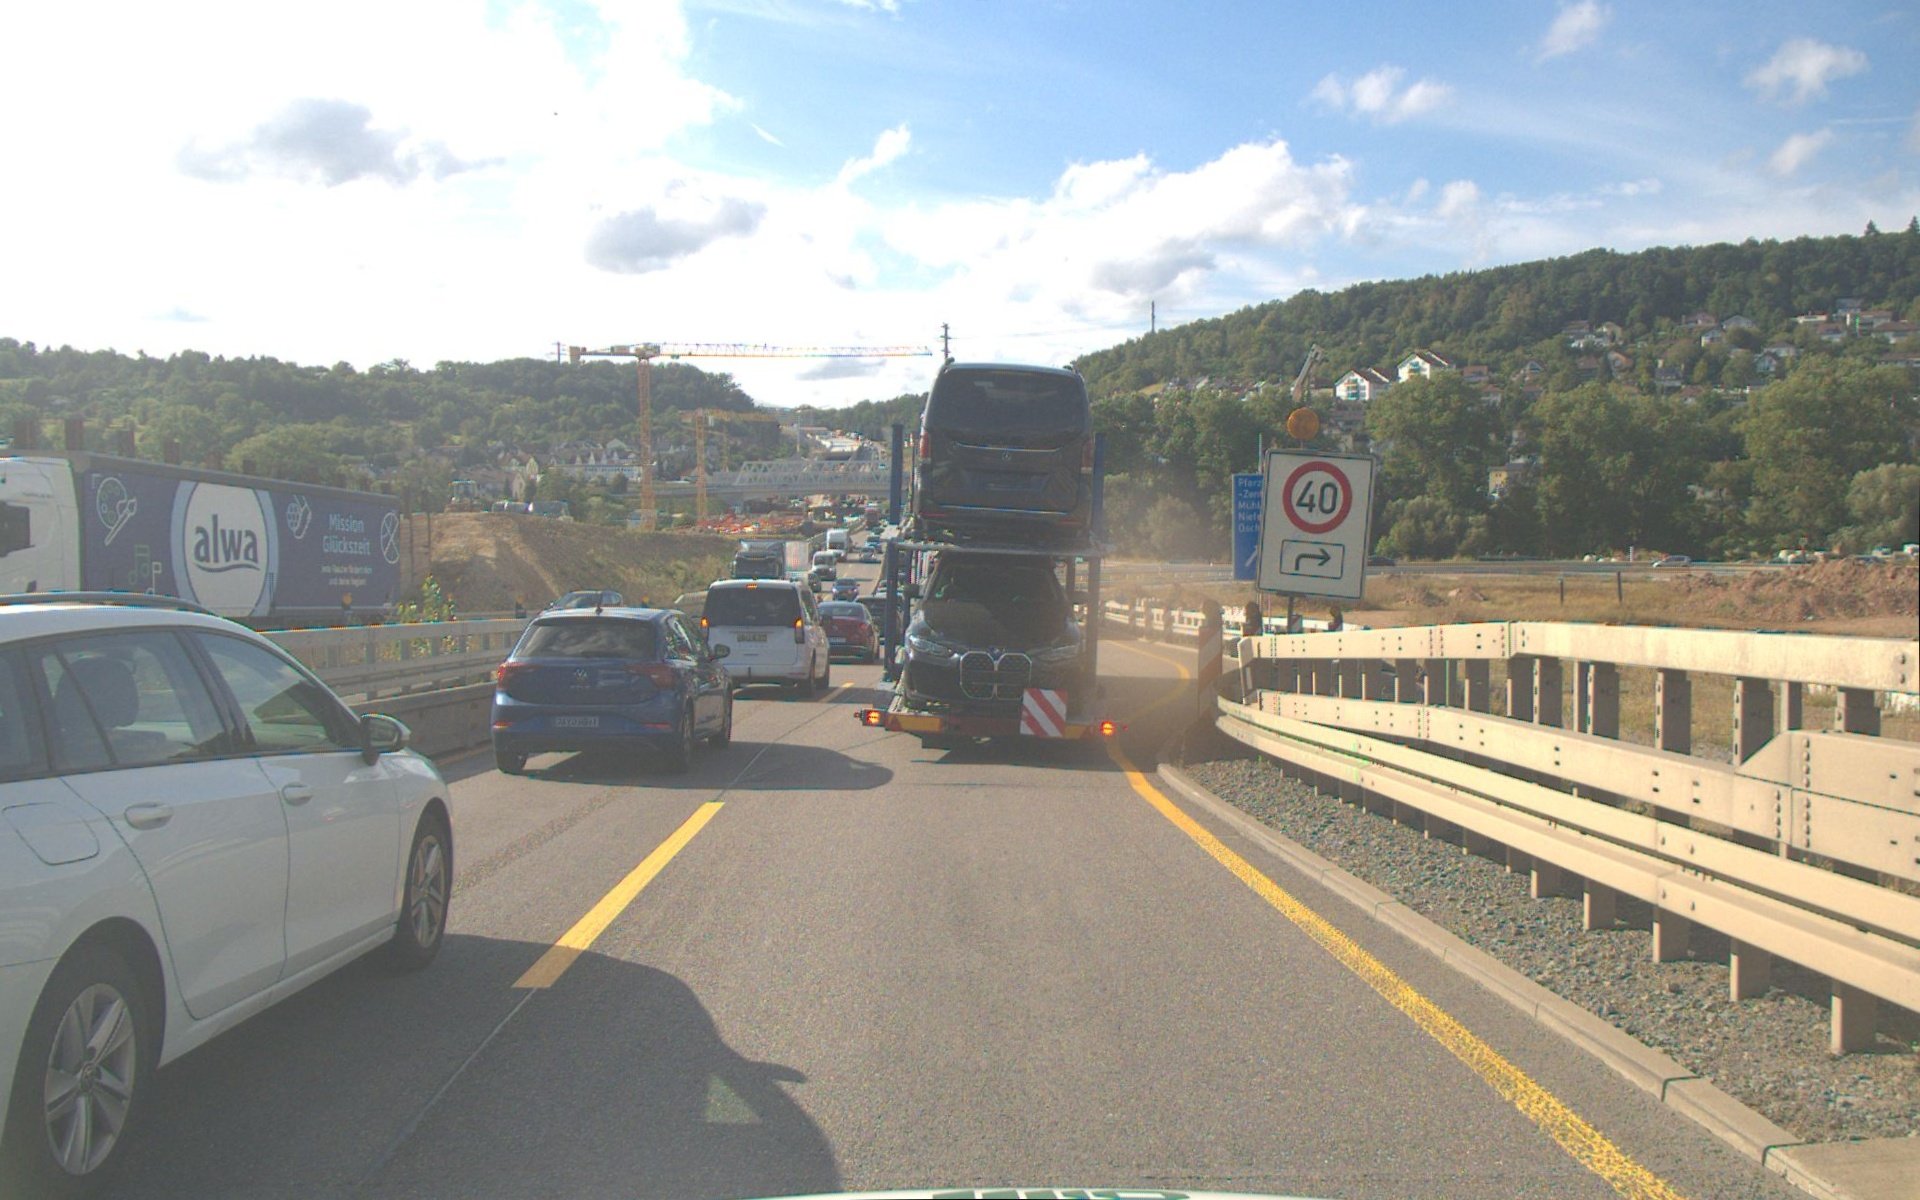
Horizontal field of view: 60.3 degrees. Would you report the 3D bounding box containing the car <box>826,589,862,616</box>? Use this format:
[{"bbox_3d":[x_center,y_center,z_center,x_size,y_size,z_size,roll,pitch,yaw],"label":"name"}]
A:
[{"bbox_3d":[-8.035,0.176,114.635,1.952,1.757,4.124,1,-1,4],"label":"car"}]

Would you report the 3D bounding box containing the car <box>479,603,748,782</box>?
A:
[{"bbox_3d":[-3.141,0.774,15.769,1.686,1.447,4.000,-1,0,0],"label":"car"}]

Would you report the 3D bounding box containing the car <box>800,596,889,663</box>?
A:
[{"bbox_3d":[-2.857,0.734,41.729,1.953,1.584,4.400,1,-1,0],"label":"car"}]

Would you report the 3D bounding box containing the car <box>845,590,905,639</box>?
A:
[{"bbox_3d":[-2.962,0.504,57.167,1.954,1.579,3.996,1,-1,-5],"label":"car"}]

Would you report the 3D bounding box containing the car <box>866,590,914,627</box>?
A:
[{"bbox_3d":[-3.073,0.398,73.349,1.953,1.579,4.000,1,-1,0],"label":"car"}]

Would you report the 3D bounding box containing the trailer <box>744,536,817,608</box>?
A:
[{"bbox_3d":[-10.572,-1.513,98.782,2.763,3.909,13.802,1,-1,0],"label":"trailer"}]

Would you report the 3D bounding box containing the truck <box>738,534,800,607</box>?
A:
[{"bbox_3d":[-10.656,-1.572,92.629,2.720,3.855,6.017,1,-1,0],"label":"truck"}]

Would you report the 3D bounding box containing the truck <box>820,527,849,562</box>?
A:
[{"bbox_3d":[-13.637,-6.012,180.431,2.646,3.369,7.535,1,-1,-1],"label":"truck"}]

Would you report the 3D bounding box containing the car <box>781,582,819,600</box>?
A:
[{"bbox_3d":[-12.004,-0.656,124.041,1.879,1.295,4.003,1,-1,9],"label":"car"}]

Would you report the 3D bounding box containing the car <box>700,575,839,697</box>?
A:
[{"bbox_3d":[-3.024,0.569,27.000,1.785,1.823,4.000,1,-1,0],"label":"car"}]

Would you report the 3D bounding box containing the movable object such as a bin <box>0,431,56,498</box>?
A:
[{"bbox_3d":[-54.615,-7.550,92.306,5.623,3.328,4.514,1,-1,10],"label":"movable object such as a bin"}]

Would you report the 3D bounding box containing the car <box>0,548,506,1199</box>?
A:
[{"bbox_3d":[-2.878,0.702,5.082,1.734,1.517,4.515,-1,-1,0],"label":"car"}]

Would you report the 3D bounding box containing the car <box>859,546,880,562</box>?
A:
[{"bbox_3d":[-9.774,-4.963,179.114,2.082,1.703,4.273,0,2,-1],"label":"car"}]

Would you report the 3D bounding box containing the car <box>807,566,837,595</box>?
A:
[{"bbox_3d":[-12.292,-1.721,147.792,2.212,2.444,5.866,1,-1,0],"label":"car"}]

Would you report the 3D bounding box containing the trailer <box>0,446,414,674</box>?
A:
[{"bbox_3d":[-16.737,-0.675,37.786,2.630,4.229,13.820,1,-1,6],"label":"trailer"}]

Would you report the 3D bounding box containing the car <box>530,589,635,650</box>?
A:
[{"bbox_3d":[-11.872,0.618,52.349,1.883,1.798,4.329,1,-1,7],"label":"car"}]

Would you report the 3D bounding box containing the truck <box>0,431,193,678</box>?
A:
[{"bbox_3d":[-17.396,-0.757,31.058,2.654,4.210,5.974,1,-1,6],"label":"truck"}]

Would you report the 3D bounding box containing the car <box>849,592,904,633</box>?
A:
[{"bbox_3d":[-3.301,0.519,66.286,1.953,1.579,4.000,1,-1,0],"label":"car"}]

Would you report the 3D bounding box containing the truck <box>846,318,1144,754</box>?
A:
[{"bbox_3d":[0.367,-0.496,25.020,2.697,4.024,18.888,2,-1,0],"label":"truck"}]

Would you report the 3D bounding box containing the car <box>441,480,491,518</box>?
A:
[{"bbox_3d":[-34.581,-7.058,115.921,1.954,2.177,5.319,-4,-1,-2],"label":"car"}]
